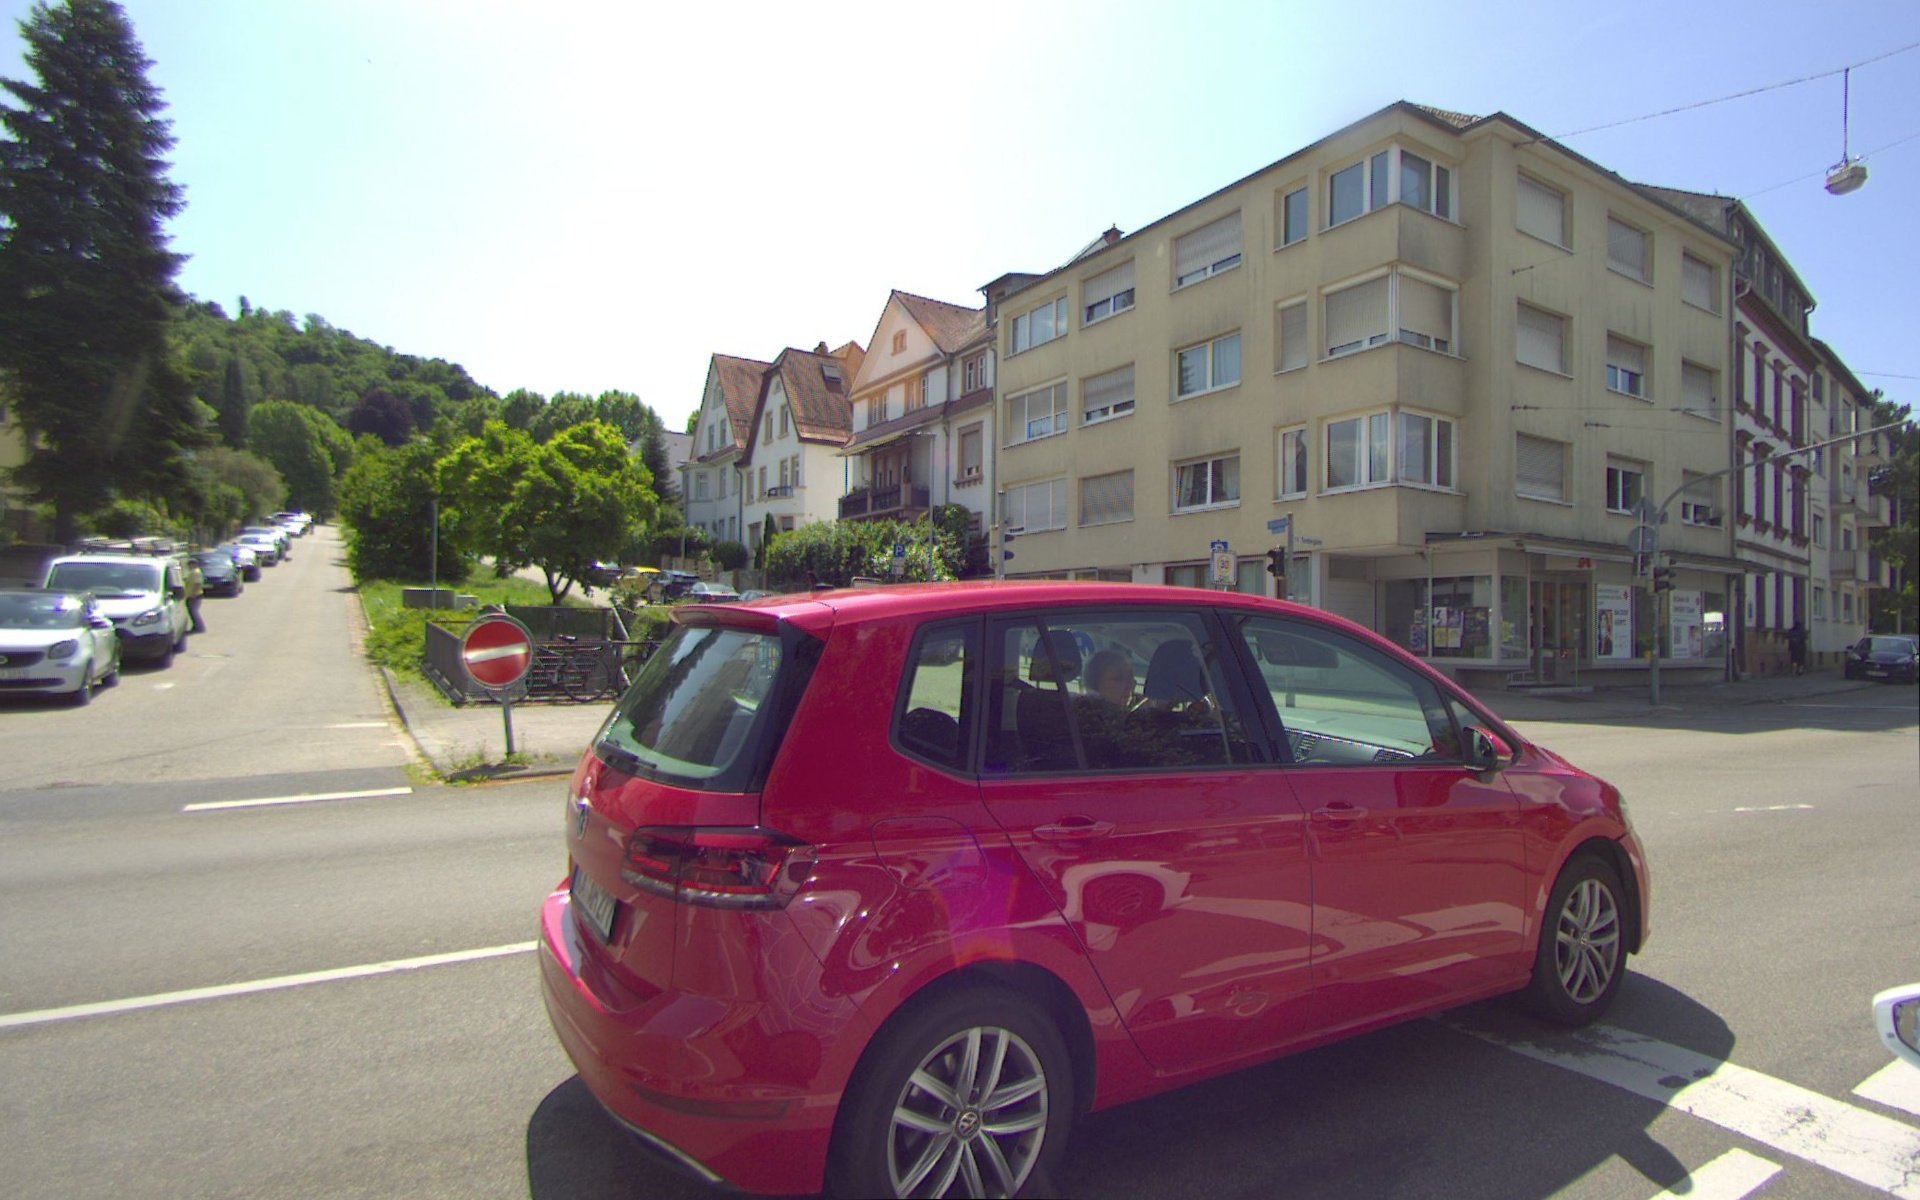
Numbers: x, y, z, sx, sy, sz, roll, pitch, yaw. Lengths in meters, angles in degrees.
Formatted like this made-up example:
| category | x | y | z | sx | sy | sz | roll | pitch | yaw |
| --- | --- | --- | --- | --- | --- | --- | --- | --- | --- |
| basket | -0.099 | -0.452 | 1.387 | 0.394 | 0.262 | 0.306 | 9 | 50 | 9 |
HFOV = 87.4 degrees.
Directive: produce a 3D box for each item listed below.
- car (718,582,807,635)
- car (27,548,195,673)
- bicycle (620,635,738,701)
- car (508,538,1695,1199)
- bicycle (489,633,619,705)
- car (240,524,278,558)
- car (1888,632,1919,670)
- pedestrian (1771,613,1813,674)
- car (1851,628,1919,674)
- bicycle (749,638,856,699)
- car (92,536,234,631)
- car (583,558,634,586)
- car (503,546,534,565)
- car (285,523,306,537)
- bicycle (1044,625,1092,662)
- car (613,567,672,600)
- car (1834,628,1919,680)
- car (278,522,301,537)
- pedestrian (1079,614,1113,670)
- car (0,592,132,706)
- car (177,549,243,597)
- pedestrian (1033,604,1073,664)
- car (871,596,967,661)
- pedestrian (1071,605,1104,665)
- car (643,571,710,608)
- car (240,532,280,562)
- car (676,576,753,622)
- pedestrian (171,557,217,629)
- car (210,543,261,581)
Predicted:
| category | x | y | z | sx | sy | sz | roll | pitch | yaw |
| --- | --- | --- | --- | --- | --- | --- | --- | --- | --- |
| car | -7.210 | 0.284 | 36.413 | 1.790 | 1.638 | 3.963 | 2 | 3 | -33 |
| car | -16.202 | 0.090 | 19.426 | 1.980 | 2.041 | 4.962 | 1 | 2 | -35 |
| bicycle | -4.375 | 1.046 | 15.702 | 1.728 | 0.980 | 0.394 | 2 | -1 | -35 |
| car | 0.641 | 0.724 | 3.629 | 3.989 | 1.578 | 1.790 | 2 | -1 | -30 |
| bicycle | -5.884 | 0.985 | 14.616 | 1.701 | 0.980 | 0.394 | 2 | -1 | -35 |
| car | -40.906 | -3.461 | 58.594 | 1.741 | 1.839 | 3.701 | 1 | 3 | -36 |
| car | 40.349 | 2.142 | 42.005 | 3.972 | 1.530 | 1.975 | 2 | -2 | -43 |
| pedestrian | 27.140 | 1.399 | 32.765 | 0.970 | 1.957 | 0.926 | 2 | -1 | -42 |
| car | 33.766 | 1.837 | 36.317 | 3.972 | 1.539 | 1.975 | 3 | -1 | -43 |
| bicycle | -2.625 | 1.128 | 16.851 | 1.765 | 0.980 | 0.394 | 2 | -1 | -35 |
| car | -20.482 | -0.490 | 26.048 | 2.050 | 2.206 | 4.973 | 1 | 2 | -29 |
| car | -20.217 | -1.628 | 57.673 | 1.839 | 1.440 | 3.963 | 2 | 3 | -33 |
| car | -37.494 | -3.789 | 85.279 | 1.839 | 1.440 | 3.963 | 2 | 3 | -33 |
| car | -74.087 | -7.817 | 112.018 | 1.739 | 1.467 | 3.706 | 1 | 3 | -32 |
| bicycle | 3.267 | 1.305 | 30.455 | 0.493 | 1.040 | 1.728 | 1 | -1 | -31 |
| car | -15.816 | -0.840 | 49.895 | 1.790 | 1.440 | 3.963 | 2 | 3 | -33 |
| car | 30.381 | 1.776 | 33.138 | 3.973 | 1.539 | 1.974 | 3 | -1 | -44 |
| car | -68.305 | -7.170 | 102.361 | 1.739 | 1.467 | 3.706 | 1 | 3 | -32 |
| pedestrian | 3.761 | 1.149 | 27.707 | 0.641 | 1.495 | 0.683 | 1 | -1 | -29 |
| car | -13.595 | 0.639 | 14.785 | 1.739 | 1.466 | 3.705 | 1 | 0 | -33 |
| car | -26.344 | -0.971 | 35.366 | 1.741 | 1.467 | 3.701 | 1 | 3 | -36 |
| pedestrian | 2.632 | 0.963 | 28.349 | 0.813 | 1.654 | 0.798 | 1 | -1 | -29 |
| car | -1.077 | 0.807 | 28.654 | 1.959 | 1.686 | 4.332 | 1 | -1 | 8 |
| pedestrian | 3.627 | 0.990 | 28.581 | 0.641 | 1.654 | 0.683 | 1 | -1 | -29 |
| car | -12.686 | -0.475 | 44.851 | 1.790 | 1.406 | 3.963 | 2 | 3 | -33 |
| car | -38.409 | -2.910 | 55.081 | 1.741 | 1.467 | 3.701 | 1 | 3 | -36 |
| car | -9.982 | -0.064 | 40.678 | 1.790 | 1.571 | 3.963 | 2 | 3 | -33 |
| pedestrian | -18.771 | -0.163 | 24.625 | 0.734 | 1.737 | 0.707 | 1 | -1 | -28 |
| car | -31.489 | -1.662 | 43.699 | 1.741 | 1.467 | 3.701 | 1 | 3 | -36 |
